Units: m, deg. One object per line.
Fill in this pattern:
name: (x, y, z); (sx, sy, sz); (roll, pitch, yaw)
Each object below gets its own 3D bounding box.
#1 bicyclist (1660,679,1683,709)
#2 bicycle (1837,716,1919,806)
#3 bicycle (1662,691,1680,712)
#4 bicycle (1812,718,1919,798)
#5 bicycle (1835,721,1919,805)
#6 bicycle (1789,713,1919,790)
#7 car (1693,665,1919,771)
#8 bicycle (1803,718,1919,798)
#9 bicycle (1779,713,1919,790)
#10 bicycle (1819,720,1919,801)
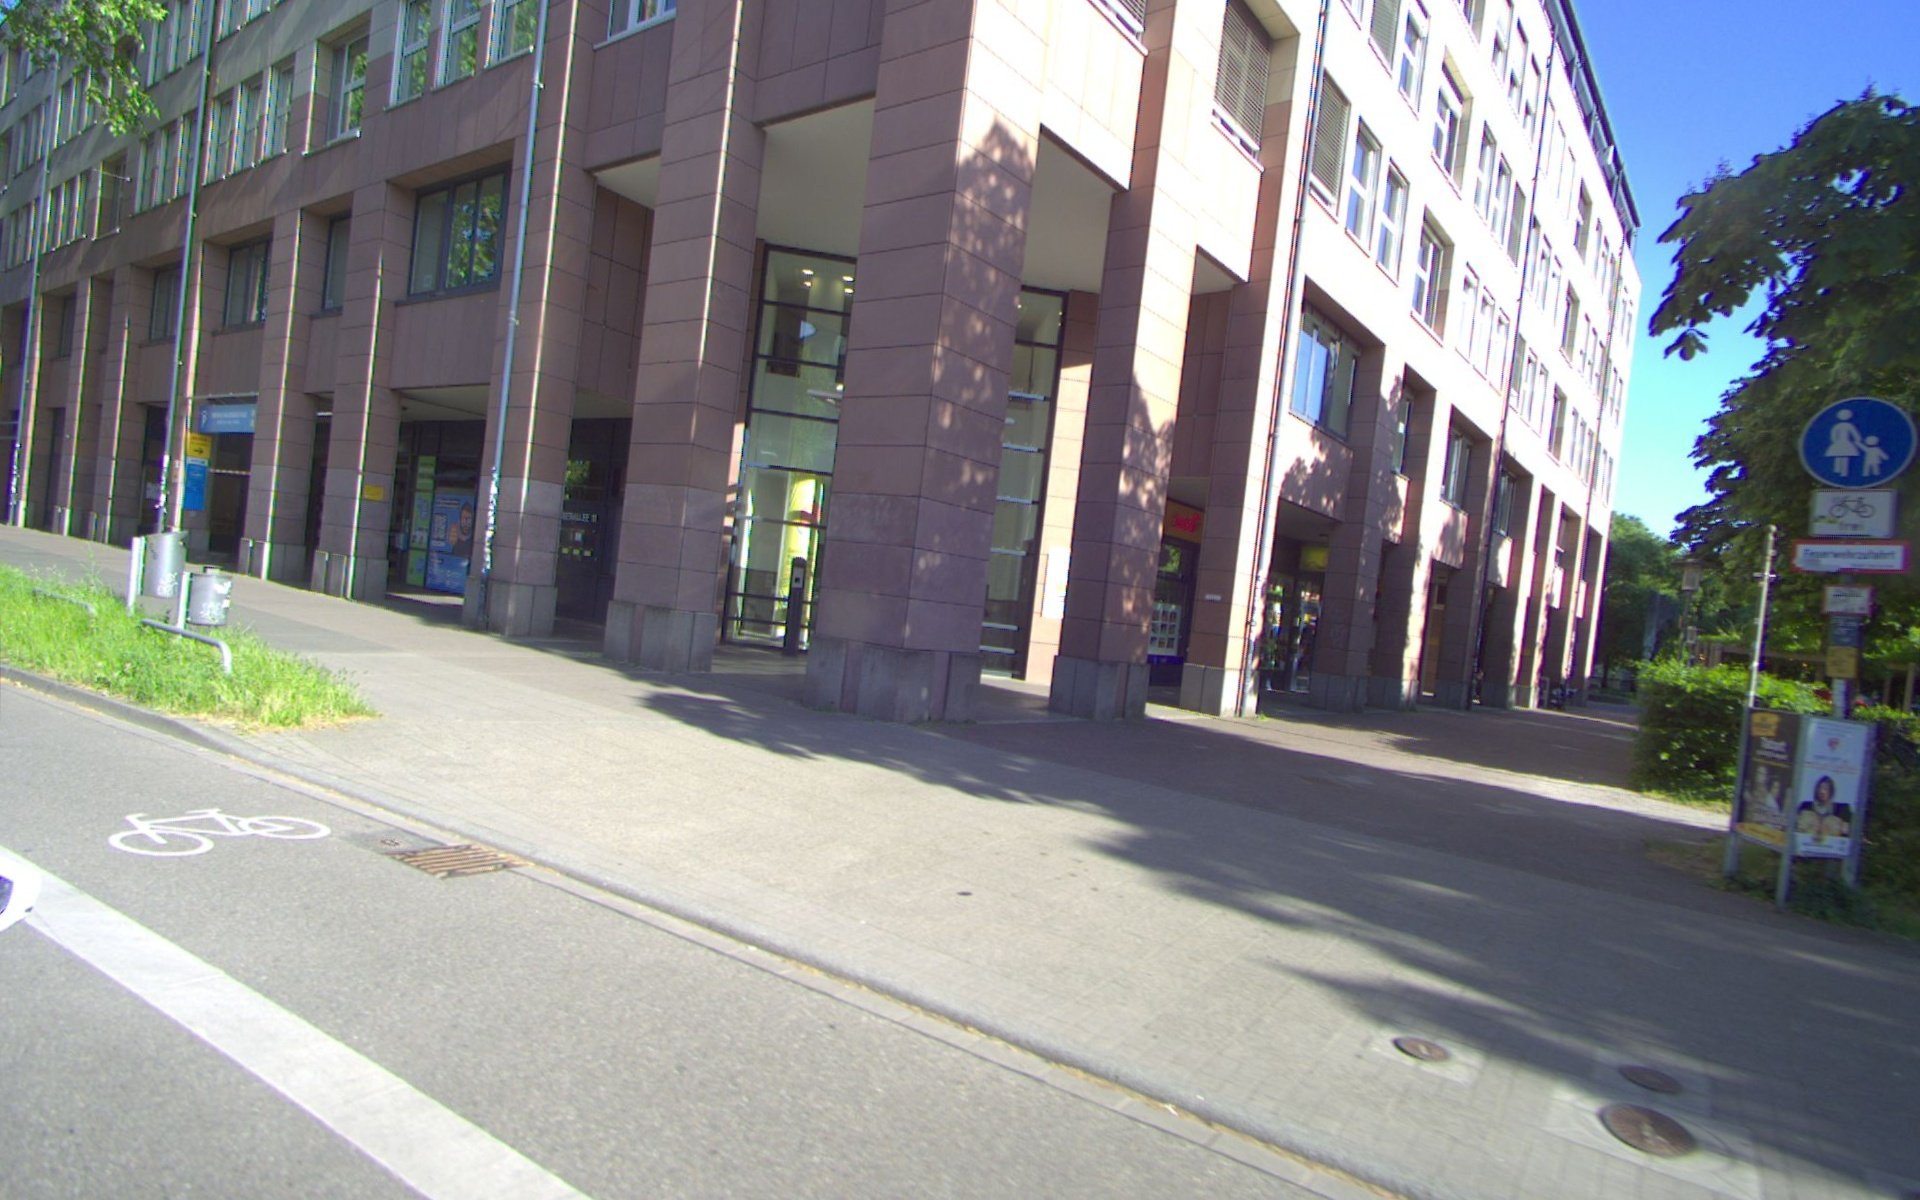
bicyclist: (50.780, 6.713, 71.793); (1.031, 1.994, 1.552); (7, -2, 42)
bicycle: (13.743, 2.350, 14.062); (0.448, 1.143, 2.111); (8, -2, -36)
bicycle: (50.655, 7.241, 71.683); (0.707, 1.330, 2.884); (7, -2, 40)
bicycle: (15.988, 2.743, 17.135); (2.095, 1.143, 0.452); (7, -1, 29)
bicycle: (14.970, 2.601, 15.503); (2.095, 1.143, 0.452); (7, -1, 29)
bicycle: (17.191, 2.885, 19.099); (2.096, 1.143, 0.452); (7, -1, 30)
car: (22.690, 3.083, 26.553); (5.121, 2.039, 1.228); (7, 1, 32)
bicycle: (16.307, 2.808, 17.702); (2.095, 1.143, 0.452); (7, -1, 29)
bicycle: (17.443, 2.944, 19.652); (2.095, 1.143, 0.452); (7, -1, 29)
bicycle: (15.651, 2.709, 16.605); (2.095, 1.143, 0.452); (7, -1, 29)
